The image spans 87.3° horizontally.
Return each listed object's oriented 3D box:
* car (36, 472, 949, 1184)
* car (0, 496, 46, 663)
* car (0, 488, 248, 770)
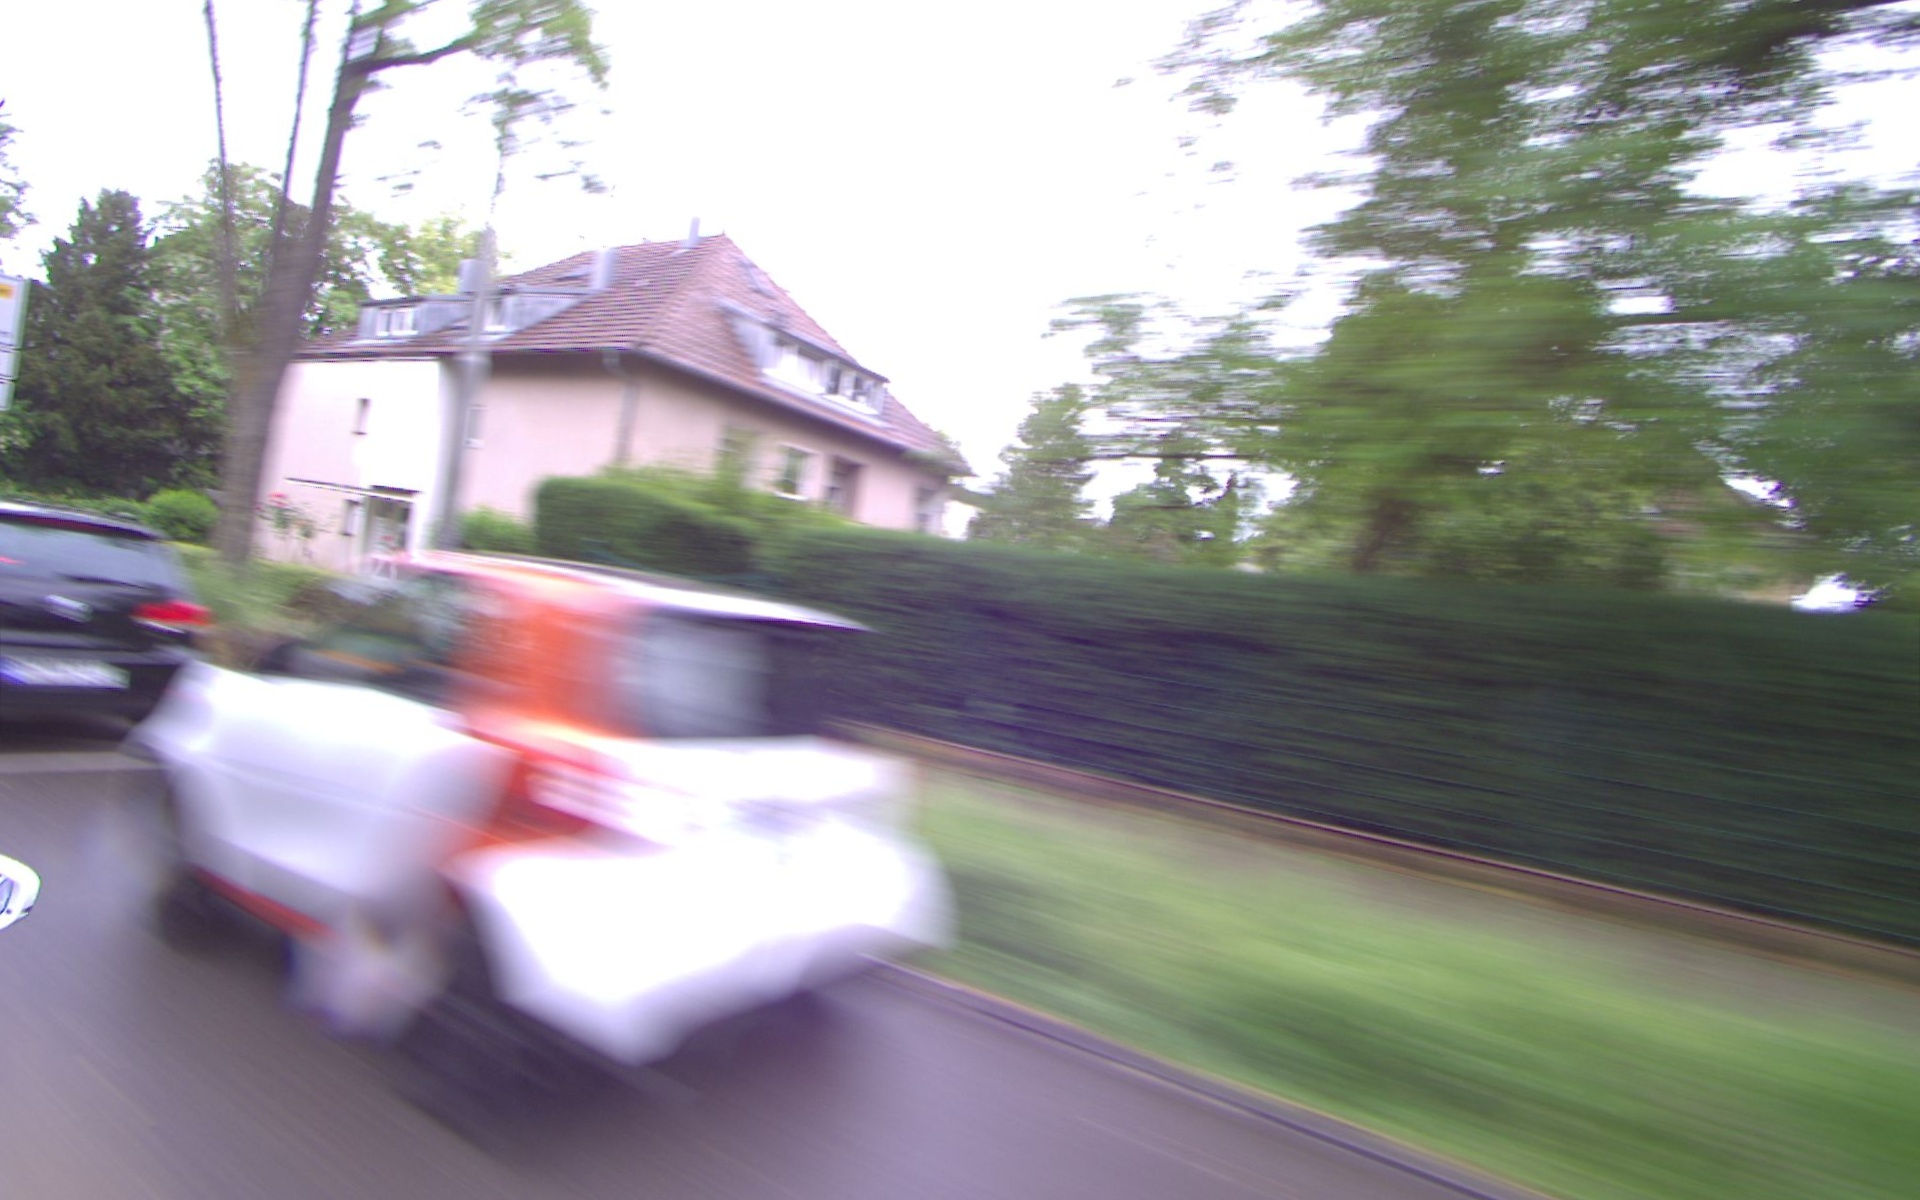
[{"bbox_3d":[-1.792,0.527,3.821,2.908,1.527,1.637,8,-1,31],"label":"car"},{"bbox_3d":[-10.893,-0.465,9.879,3.803,1.542,1.702,8,-2,31],"label":"car"},{"bbox_3d":[-6.765,0.002,6.924,3.806,1.542,1.700,8,-2,35],"label":"car"}]
